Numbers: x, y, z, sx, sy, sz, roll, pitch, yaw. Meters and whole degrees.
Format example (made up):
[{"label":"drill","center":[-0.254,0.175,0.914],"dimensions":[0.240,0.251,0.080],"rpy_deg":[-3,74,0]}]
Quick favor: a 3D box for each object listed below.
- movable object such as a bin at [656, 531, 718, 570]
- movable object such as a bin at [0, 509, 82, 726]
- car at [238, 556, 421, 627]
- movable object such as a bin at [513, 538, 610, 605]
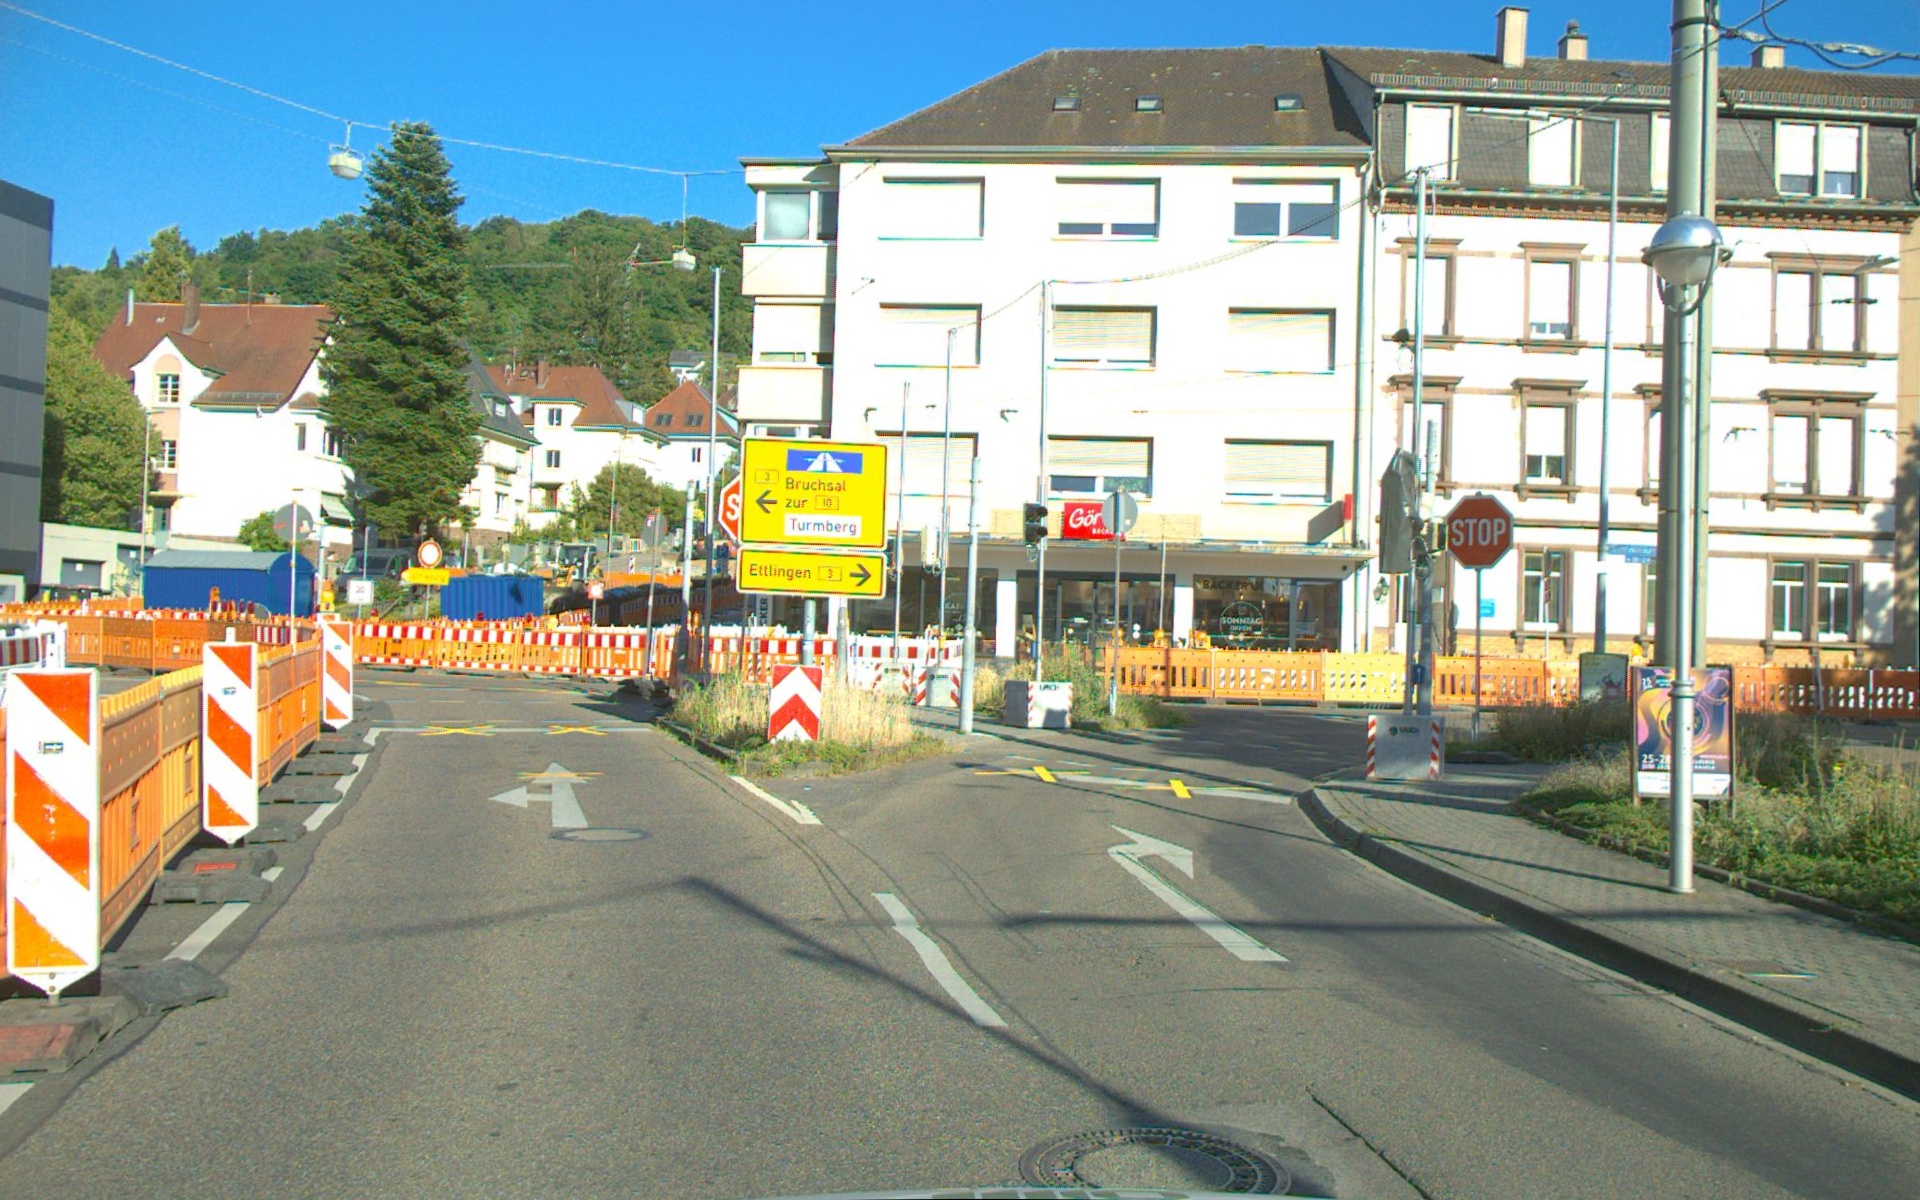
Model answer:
[{"label":"movable object such as a bin","center":[-17.028,-3.053,103.488],"dimensions":[2.511,2.159,5.787],"rpy_deg":[1,-1,5]},{"label":"movable object such as a bin","center":[-11.333,0.178,18.295],"dimensions":[1.616,2.365,3.912],"rpy_deg":[1,-1,-9]},{"label":"car","center":[-20.565,-0.226,54.375],"dimensions":[2.528,2.158,6.155],"rpy_deg":[1,-1,14]},{"label":"movable object such as a bin","center":[-16.198,-1.117,67.524],"dimensions":[1.907,2.538,4.554],"rpy_deg":[1,-1,14]}]
